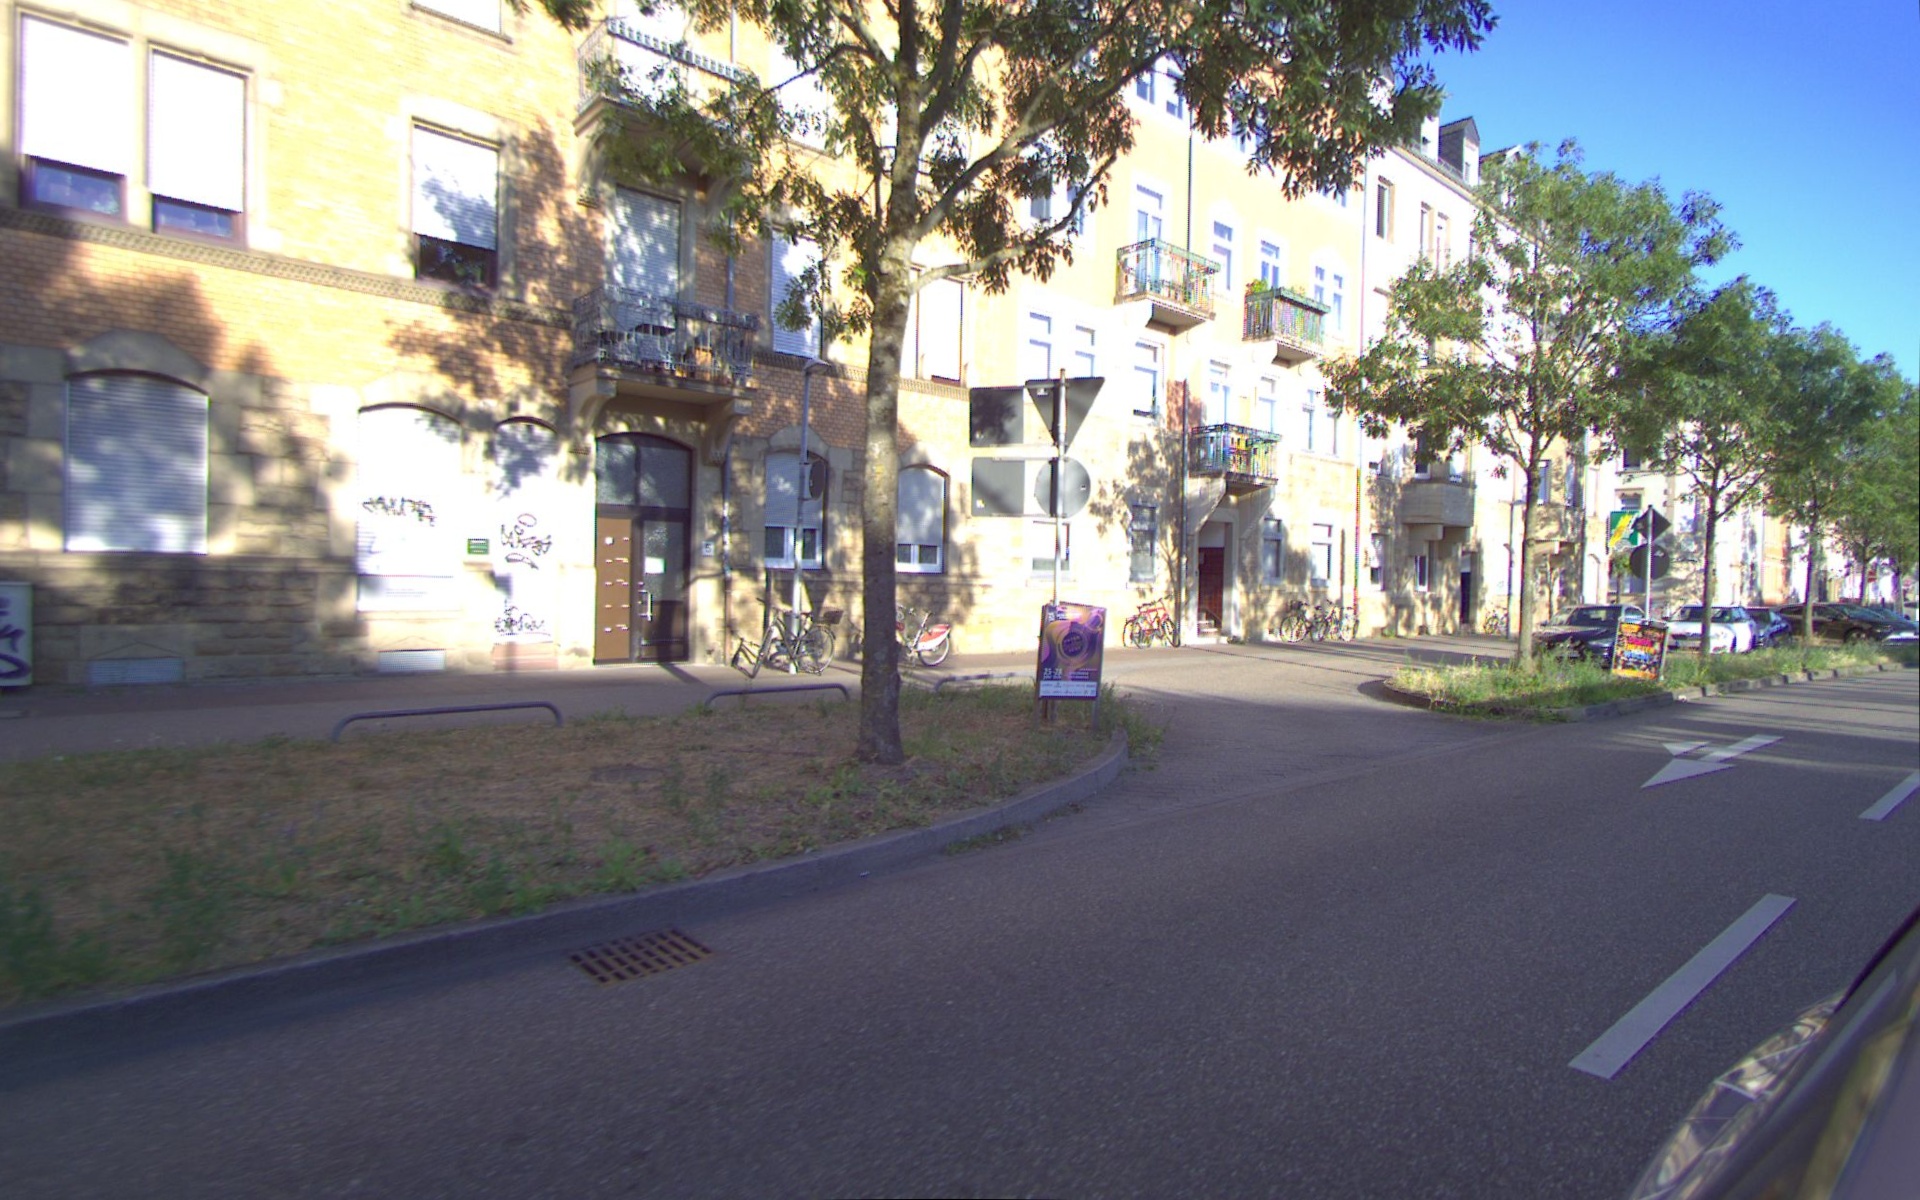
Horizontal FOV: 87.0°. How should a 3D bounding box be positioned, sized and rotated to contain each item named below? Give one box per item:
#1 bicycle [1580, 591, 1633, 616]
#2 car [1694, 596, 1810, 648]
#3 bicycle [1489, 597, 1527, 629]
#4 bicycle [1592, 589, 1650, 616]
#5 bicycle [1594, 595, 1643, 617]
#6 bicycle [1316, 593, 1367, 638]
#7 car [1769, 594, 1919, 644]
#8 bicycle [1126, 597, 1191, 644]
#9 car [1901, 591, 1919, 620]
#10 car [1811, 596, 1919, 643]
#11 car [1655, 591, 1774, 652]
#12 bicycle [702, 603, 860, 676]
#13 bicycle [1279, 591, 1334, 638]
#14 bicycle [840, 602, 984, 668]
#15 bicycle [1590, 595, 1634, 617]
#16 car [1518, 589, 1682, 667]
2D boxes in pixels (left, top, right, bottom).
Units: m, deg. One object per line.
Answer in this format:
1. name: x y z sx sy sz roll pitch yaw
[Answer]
1. bicycle: 35.645 0.181 55.784 0.719 1.336 2.351 0 1 -44
2. car: 24.222 0.642 30.901 4.824 1.463 1.947 0 -1 -42
3. bicycle: 19.880 0.460 36.669 1.864 1.086 0.573 0 2 -41
4. bicycle: 37.477 0.132 57.397 0.719 1.401 2.666 0 1 -44
5. bicycle: 36.907 0.334 56.737 0.530 1.119 2.206 0 1 -44
6. bicycle: 10.731 0.415 28.441 1.716 1.178 0.484 0 6 -41
7. car: 30.551 0.622 34.583 1.961 1.591 4.347 1 -1 -8
8. bicycle: 4.490 0.455 22.853 1.716 1.018 0.484 0 1 -41
9. car: 58.008 0.357 58.978 1.877 1.712 4.438 1 1 -6
10. car: 32.820 0.669 35.566 1.809 1.541 4.294 1 1 -9
11. car: 20.287 0.549 27.139 4.198 1.531 1.728 0 -1 -42
12. bicycle: -2.534 0.530 14.471 2.047 0.927 0.874 0 3 -40
13. bicycle: 9.327 0.371 27.206 1.716 1.178 0.484 0 6 -41
14. bicycle: -0.738 0.531 16.237 2.296 0.960 0.736 0 3 -38
15. bicycle: 36.347 0.344 56.411 0.566 1.138 1.973 0 1 -44
16. car: 13.321 0.545 20.976 4.213 1.467 1.706 0 -1 -41
